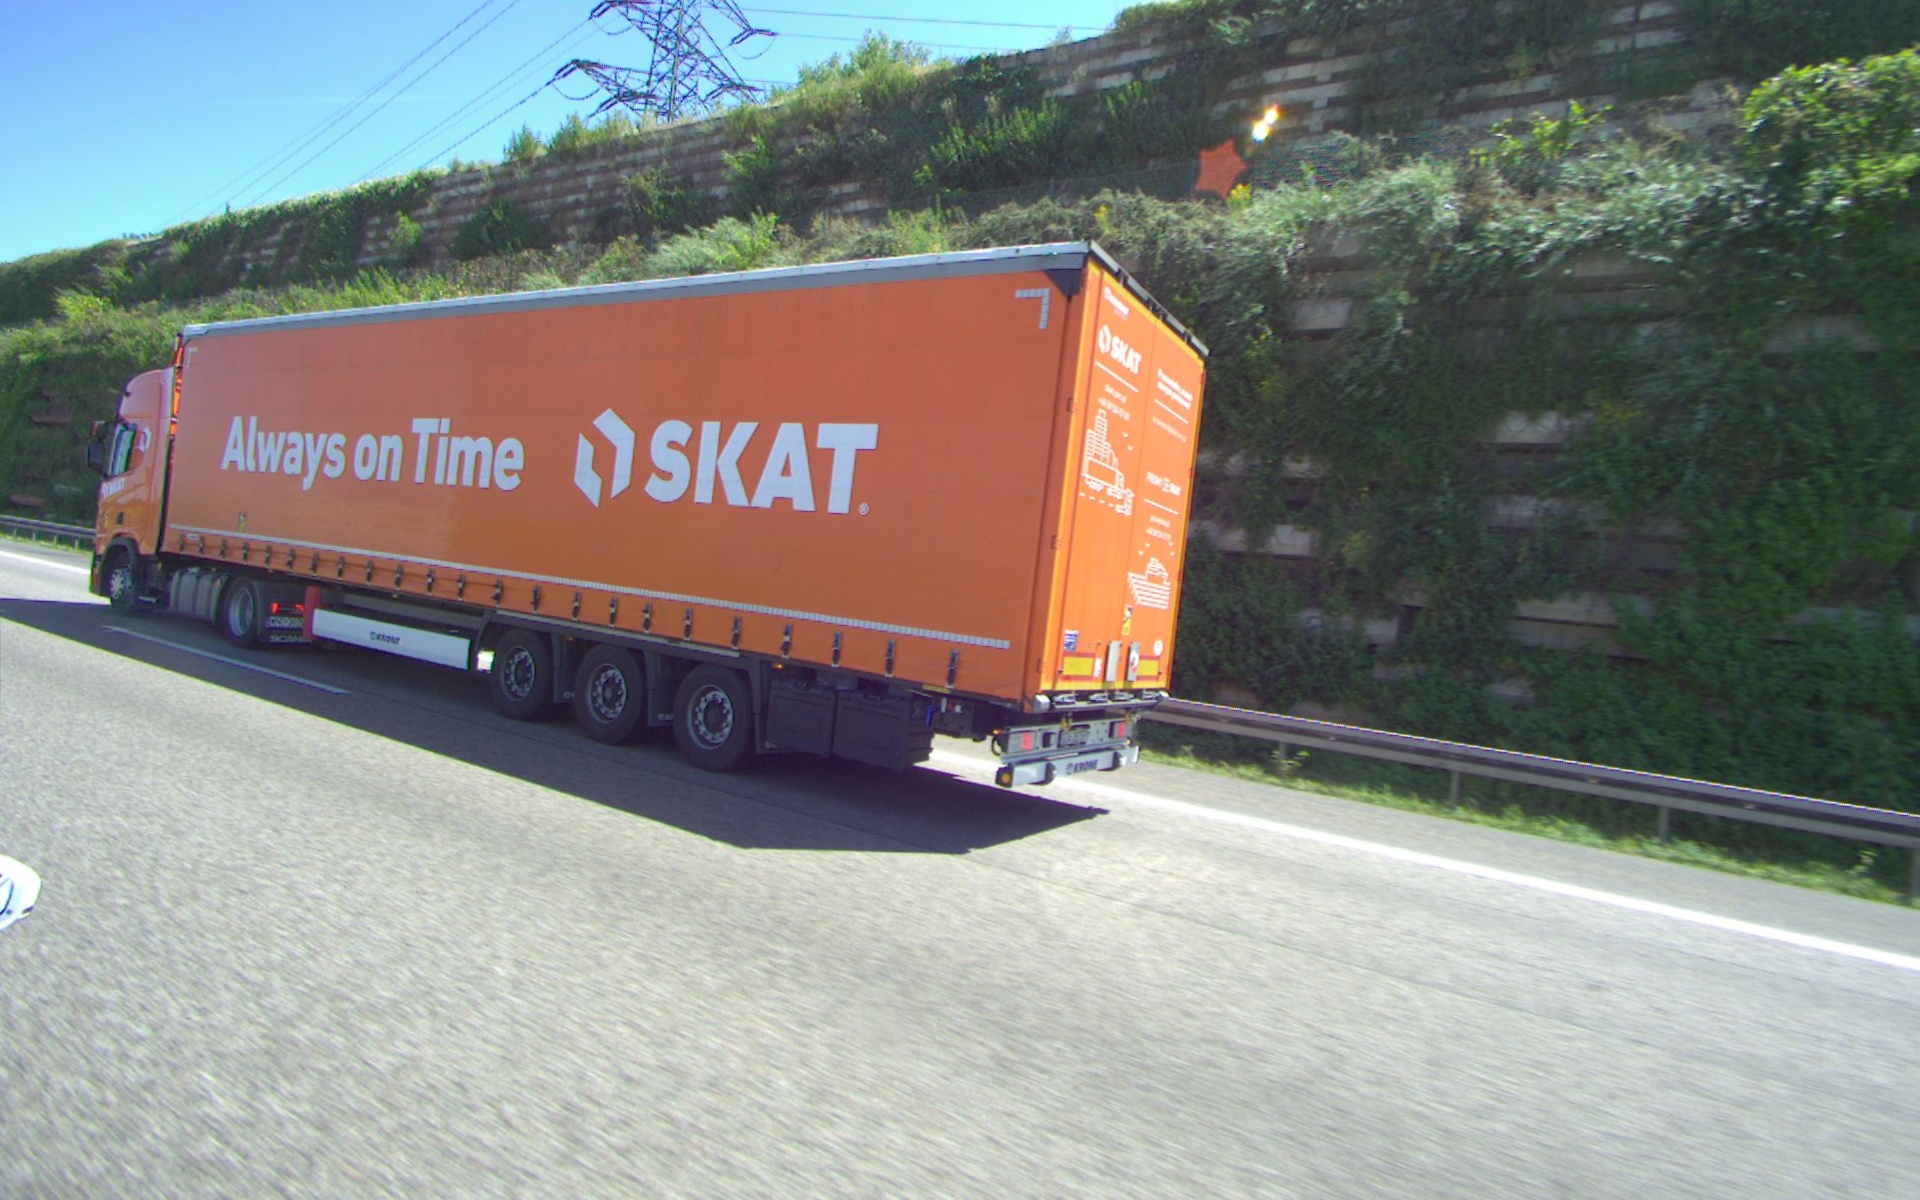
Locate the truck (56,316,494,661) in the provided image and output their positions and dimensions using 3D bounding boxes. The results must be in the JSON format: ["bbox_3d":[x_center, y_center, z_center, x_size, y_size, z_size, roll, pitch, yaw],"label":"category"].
[{"bbox_3d":[-10.158,-1.559,14.726,6.418,4.042,2.621,7,0,32],"label":"truck"}]

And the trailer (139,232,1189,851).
[{"bbox_3d":[-4.551,-0.921,11.208,13.380,4.054,2.648,7,0,32],"label":"trailer"}]
